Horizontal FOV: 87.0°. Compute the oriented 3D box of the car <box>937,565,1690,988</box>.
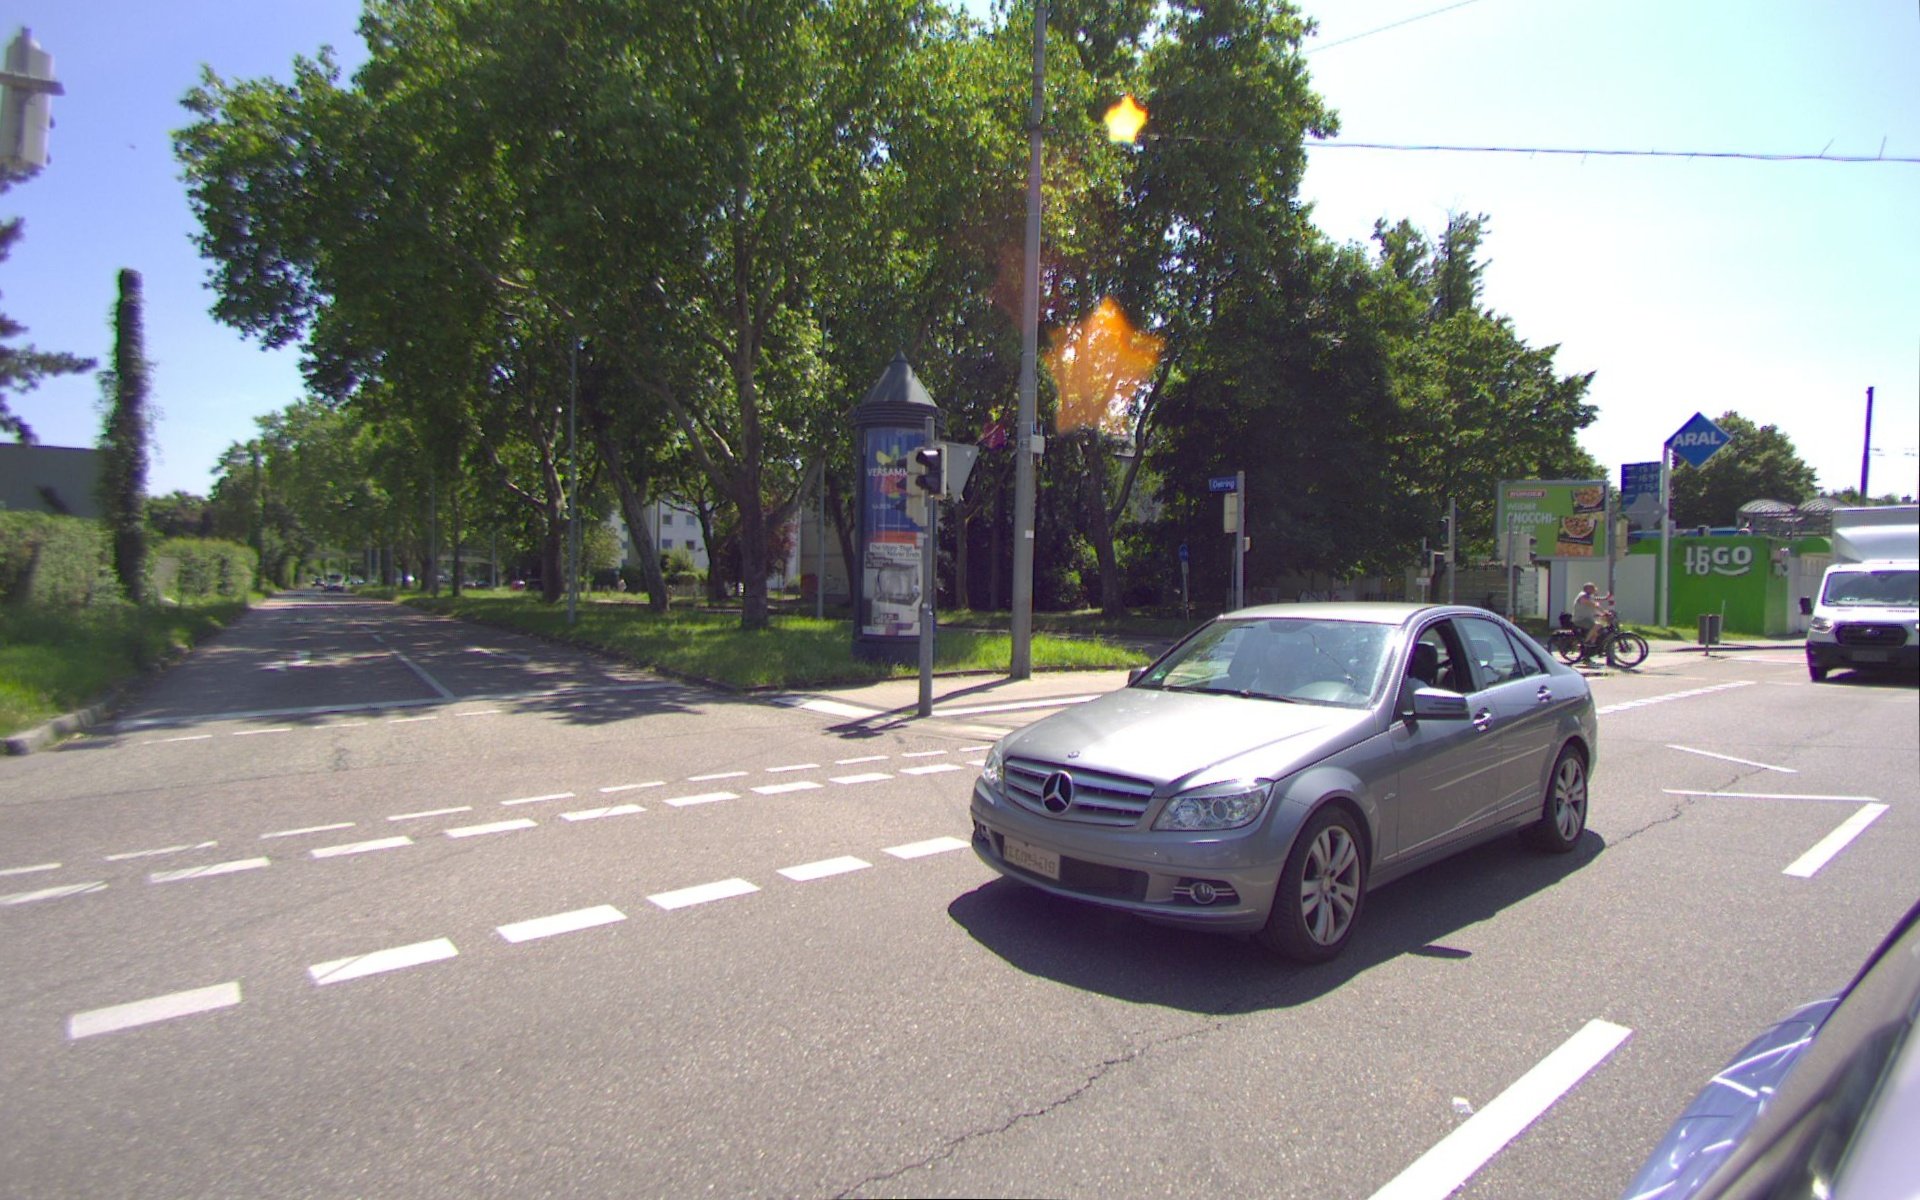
[{"bbox_3d":[2.430,0.654,5.916,5.206,1.492,1.716,1,-1,-40],"label":"car"}]

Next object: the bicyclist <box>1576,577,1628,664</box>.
[{"bbox_3d":[13.795,0.418,21.740,0.960,1.810,0.725,0,1,-43],"label":"bicyclist"}]

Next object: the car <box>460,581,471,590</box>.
[{"bbox_3d":[-83.157,-2.469,170.235,1.461,1.464,3.356,0,1,-28],"label":"car"}]

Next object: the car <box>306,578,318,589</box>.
[{"bbox_3d":[-108.356,-2.741,169.263,1.726,1.683,3.902,0,0,-33],"label":"car"}]

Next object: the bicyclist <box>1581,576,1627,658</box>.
[{"bbox_3d":[14.522,0.386,22.827,0.752,1.811,0.579,0,-1,-32],"label":"bicyclist"}]

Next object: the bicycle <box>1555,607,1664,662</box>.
[{"bbox_3d":[14.596,0.748,22.800,0.877,1.139,1.874,0,0,-32],"label":"bicycle"}]

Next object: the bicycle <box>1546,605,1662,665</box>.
[{"bbox_3d":[13.761,0.721,21.658,0.880,1.174,1.952,0,1,-43],"label":"bicycle"}]

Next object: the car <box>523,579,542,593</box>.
[{"bbox_3d":[-48.369,-1.597,114.531,1.673,1.464,3.389,0,0,-28],"label":"car"}]

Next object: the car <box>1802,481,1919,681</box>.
[{"bbox_3d":[19.177,-0.348,20.155,8.482,3.377,2.228,0,0,-40],"label":"car"}]

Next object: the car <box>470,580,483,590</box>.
[{"bbox_3d":[-73.965,-2.312,154.776,1.673,1.464,3.389,0,1,-28],"label":"car"}]

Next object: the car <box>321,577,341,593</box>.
[{"bbox_3d":[-69.112,-1.598,111.204,1.726,1.683,3.902,0,0,-33],"label":"car"}]

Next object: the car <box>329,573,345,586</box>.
[{"bbox_3d":[-83.298,-2.772,135.228,1.726,1.683,3.902,0,0,-33],"label":"car"}]
